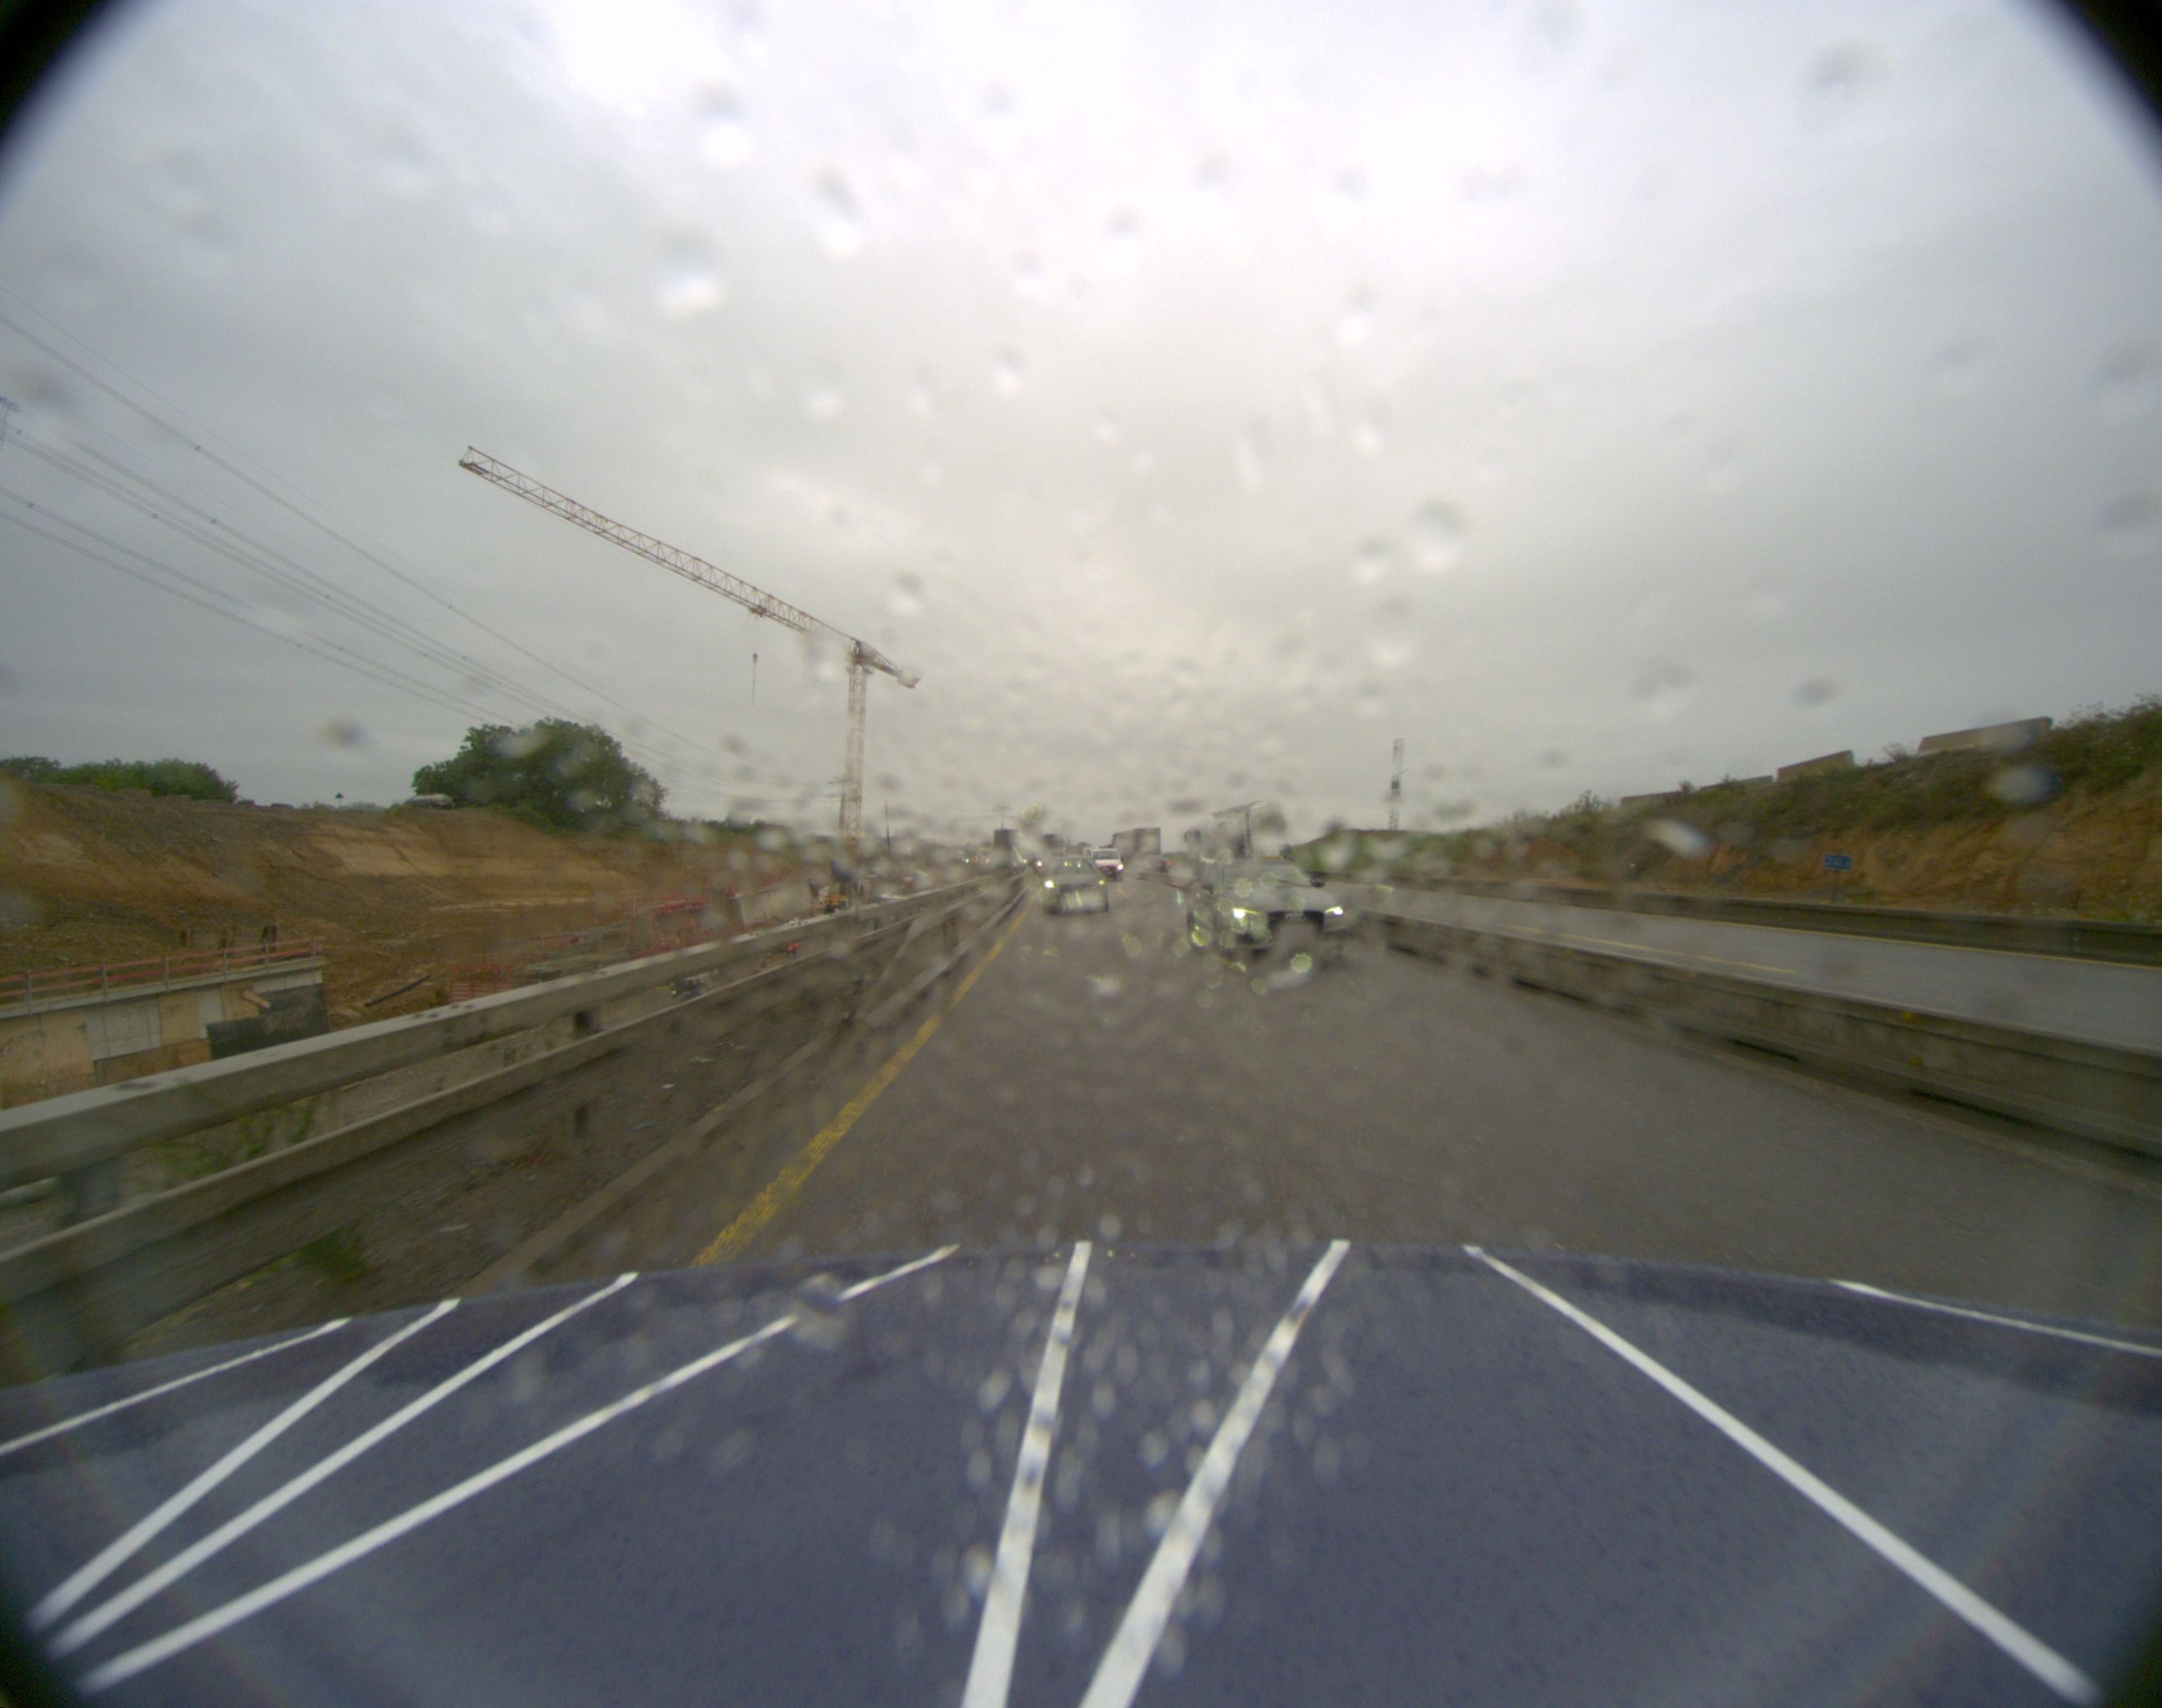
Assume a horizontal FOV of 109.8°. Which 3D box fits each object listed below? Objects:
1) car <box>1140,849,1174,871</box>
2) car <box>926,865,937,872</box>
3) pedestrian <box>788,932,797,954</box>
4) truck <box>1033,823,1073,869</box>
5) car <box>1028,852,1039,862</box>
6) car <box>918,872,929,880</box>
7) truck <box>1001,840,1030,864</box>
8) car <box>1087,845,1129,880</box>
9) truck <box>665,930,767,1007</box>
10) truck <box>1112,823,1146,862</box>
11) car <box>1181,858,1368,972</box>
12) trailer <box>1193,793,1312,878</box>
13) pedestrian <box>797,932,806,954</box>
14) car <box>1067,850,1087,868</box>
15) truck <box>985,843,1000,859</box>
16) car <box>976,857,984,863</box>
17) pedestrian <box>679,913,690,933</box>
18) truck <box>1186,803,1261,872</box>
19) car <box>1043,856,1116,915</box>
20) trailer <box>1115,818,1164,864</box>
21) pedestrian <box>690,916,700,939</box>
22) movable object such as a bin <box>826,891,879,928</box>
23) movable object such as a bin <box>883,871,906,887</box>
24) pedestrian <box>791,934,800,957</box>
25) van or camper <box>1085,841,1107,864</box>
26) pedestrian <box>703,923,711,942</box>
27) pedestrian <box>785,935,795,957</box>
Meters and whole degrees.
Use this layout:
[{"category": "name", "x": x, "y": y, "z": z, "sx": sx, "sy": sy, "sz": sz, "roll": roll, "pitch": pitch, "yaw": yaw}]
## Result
[{"category": "car", "x": 5.263, "y": 0.402, "z": 53.466, "sx": 1.808, "sy": 1.431, "sz": 4.949, "roll": 0, "pitch": 1, "yaw": -1}, {"category": "car", "x": -38.681, "y": 3.701, "z": 196.090, "sx": 2.352, "sy": 1.609, "sz": 4.856, "roll": 0, "pitch": 1, "yaw": -6}, {"category": "pedestrian", "x": -25.942, "y": 7.968, "z": 68.276, "sx": 0.603, "sy": 1.894, "sz": 0.481, "roll": 1, "pitch": 1, "yaw": -5}, {"category": "truck", "x": -2.427, "y": -0.683, "z": 62.648, "sx": 2.857, "sy": 3.463, "sz": 8.639, "roll": -1, "pitch": 1, "yaw": -4}, {"category": "car", "x": -9.060, "y": 0.548, "z": 143.938, "sx": 1.790, "sy": 1.646, "sz": 3.997, "roll": -2, "pitch": 1, "yaw": -7}, {"category": "car", "x": -34.789, "y": 4.841, "z": 167.645, "sx": 1.860, "sy": 1.609, "sz": 4.077, "roll": 0, "pitch": 1, "yaw": -6}, {"category": "truck", "x": -12.900, "y": -0.427, "z": 147.241, "sx": 4.321, "sy": 4.319, "sz": 13.395, "roll": -2, "pitch": 1, "yaw": -10}, {"category": "car", "x": 1.549, "y": 0.452, "z": 45.344, "sx": 2.070, "sy": 1.934, "sz": 5.154, "roll": -1, "pitch": 1, "yaw": -3}, {"category": "truck", "x": -24.376, "y": 7.529, "z": 51.425, "sx": 2.710, "sy": 3.591, "sz": 9.070, "roll": 0, "pitch": 2, "yaw": -1}, {"category": "truck", "x": 5.488, "y": -1.279, "z": 87.637, "sx": 2.988, "sy": 4.383, "sz": 6.928, "roll": 0, "pitch": 0, "yaw": -4}, {"category": "car", "x": 2.823, "y": 0.813, "z": 12.041, "sx": 1.805, "sy": 1.375, "sz": 4.086, "roll": -1, "pitch": 1, "yaw": -2}, {"category": "trailer", "x": 8.896, "y": -0.929, "z": 41.389, "sx": 3.264, "sy": 3.941, "sz": 11.531, "roll": -1, "pitch": 1, "yaw": -3}, {"category": "pedestrian", "x": -24.978, "y": 7.936, "z": 67.893, "sx": 0.603, "sy": 1.894, "sz": 0.481, "roll": 1, "pitch": 1, "yaw": -5}, {"category": "car", "x": -0.452, "y": 0.482, "z": 80.331, "sx": 1.790, "sy": 1.744, "sz": 3.998, "roll": -2, "pitch": 1, "yaw": -5}, {"category": "truck", "x": -22.265, "y": -0.734, "z": 190.466, "sx": 3.547, "sy": 3.871, "sz": 8.329, "roll": -2, "pitch": 1, "yaw": -7}, {"category": "car", "x": -25.689, "y": 1.550, "z": 192.938, "sx": 1.790, "sy": 1.418, "sz": 3.998, "roll": -2, "pitch": 1, "yaw": -5}, {"category": "pedestrian", "x": -37.222, "y": 6.456, "z": 71.268, "sx": 0.488, "sy": 1.794, "sz": 0.583, "roll": -5, "pitch": 2, "yaw": 35}, {"category": "truck", "x": 8.610, "y": -0.984, "z": 46.727, "sx": 3.240, "sy": 3.933, "sz": 5.879, "roll": -1, "pitch": 1, "yaw": -2}, {"category": "car", "x": -0.135, "y": 0.819, "z": 21.806, "sx": 1.875, "sy": 1.481, "sz": 4.259, "roll": -1, "pitch": 0, "yaw": -3}, {"category": "trailer", "x": 5.981, "y": -1.270, "z": 80.769, "sx": 3.004, "sy": 4.395, "sz": 15.696, "roll": 0, "pitch": 0, "yaw": -4}, {"category": "pedestrian", "x": -37.036, "y": 7.017, "z": 72.894, "sx": 0.489, "sy": 2.088, "sz": 0.481, "roll": -6, "pitch": 2, "yaw": -5}, {"category": "movable object such as a bin", "x": -25.555, "y": 6.141, "z": 85.365, "sx": 3.516, "sy": 3.405, "sz": 6.652, "roll": -1, "pitch": 2, "yaw": 4}, {"category": "movable object such as a bin", "x": -36.498, "y": 4.873, "z": 148.918, "sx": 3.502, "sy": 2.865, "sz": 3.997, "roll": 5, "pitch": 1, "yaw": -5}, {"category": "pedestrian", "x": -25.145, "y": 8.049, "z": 66.858, "sx": 0.603, "sy": 1.894, "sz": 0.614, "roll": 0, "pitch": 1, "yaw": -5}, {"category": "van or camper", "x": 1.785, "y": -0.184, "z": 93.135, "sx": 2.284, "sy": 2.599, "sz": 5.827, "roll": -2, "pitch": 1, "yaw": -1}, {"category": "pedestrian", "x": -36.980, "y": 7.771, "z": 75.111, "sx": 0.489, "sy": 1.750, "sz": 0.481, "roll": 1, "pitch": 1, "yaw": -5}, {"category": "pedestrian", "x": -25.326, "y": 8.007, "z": 66.119, "sx": 0.603, "sy": 1.759, "sz": 0.481, "roll": 3, "pitch": 1, "yaw": -5}]
